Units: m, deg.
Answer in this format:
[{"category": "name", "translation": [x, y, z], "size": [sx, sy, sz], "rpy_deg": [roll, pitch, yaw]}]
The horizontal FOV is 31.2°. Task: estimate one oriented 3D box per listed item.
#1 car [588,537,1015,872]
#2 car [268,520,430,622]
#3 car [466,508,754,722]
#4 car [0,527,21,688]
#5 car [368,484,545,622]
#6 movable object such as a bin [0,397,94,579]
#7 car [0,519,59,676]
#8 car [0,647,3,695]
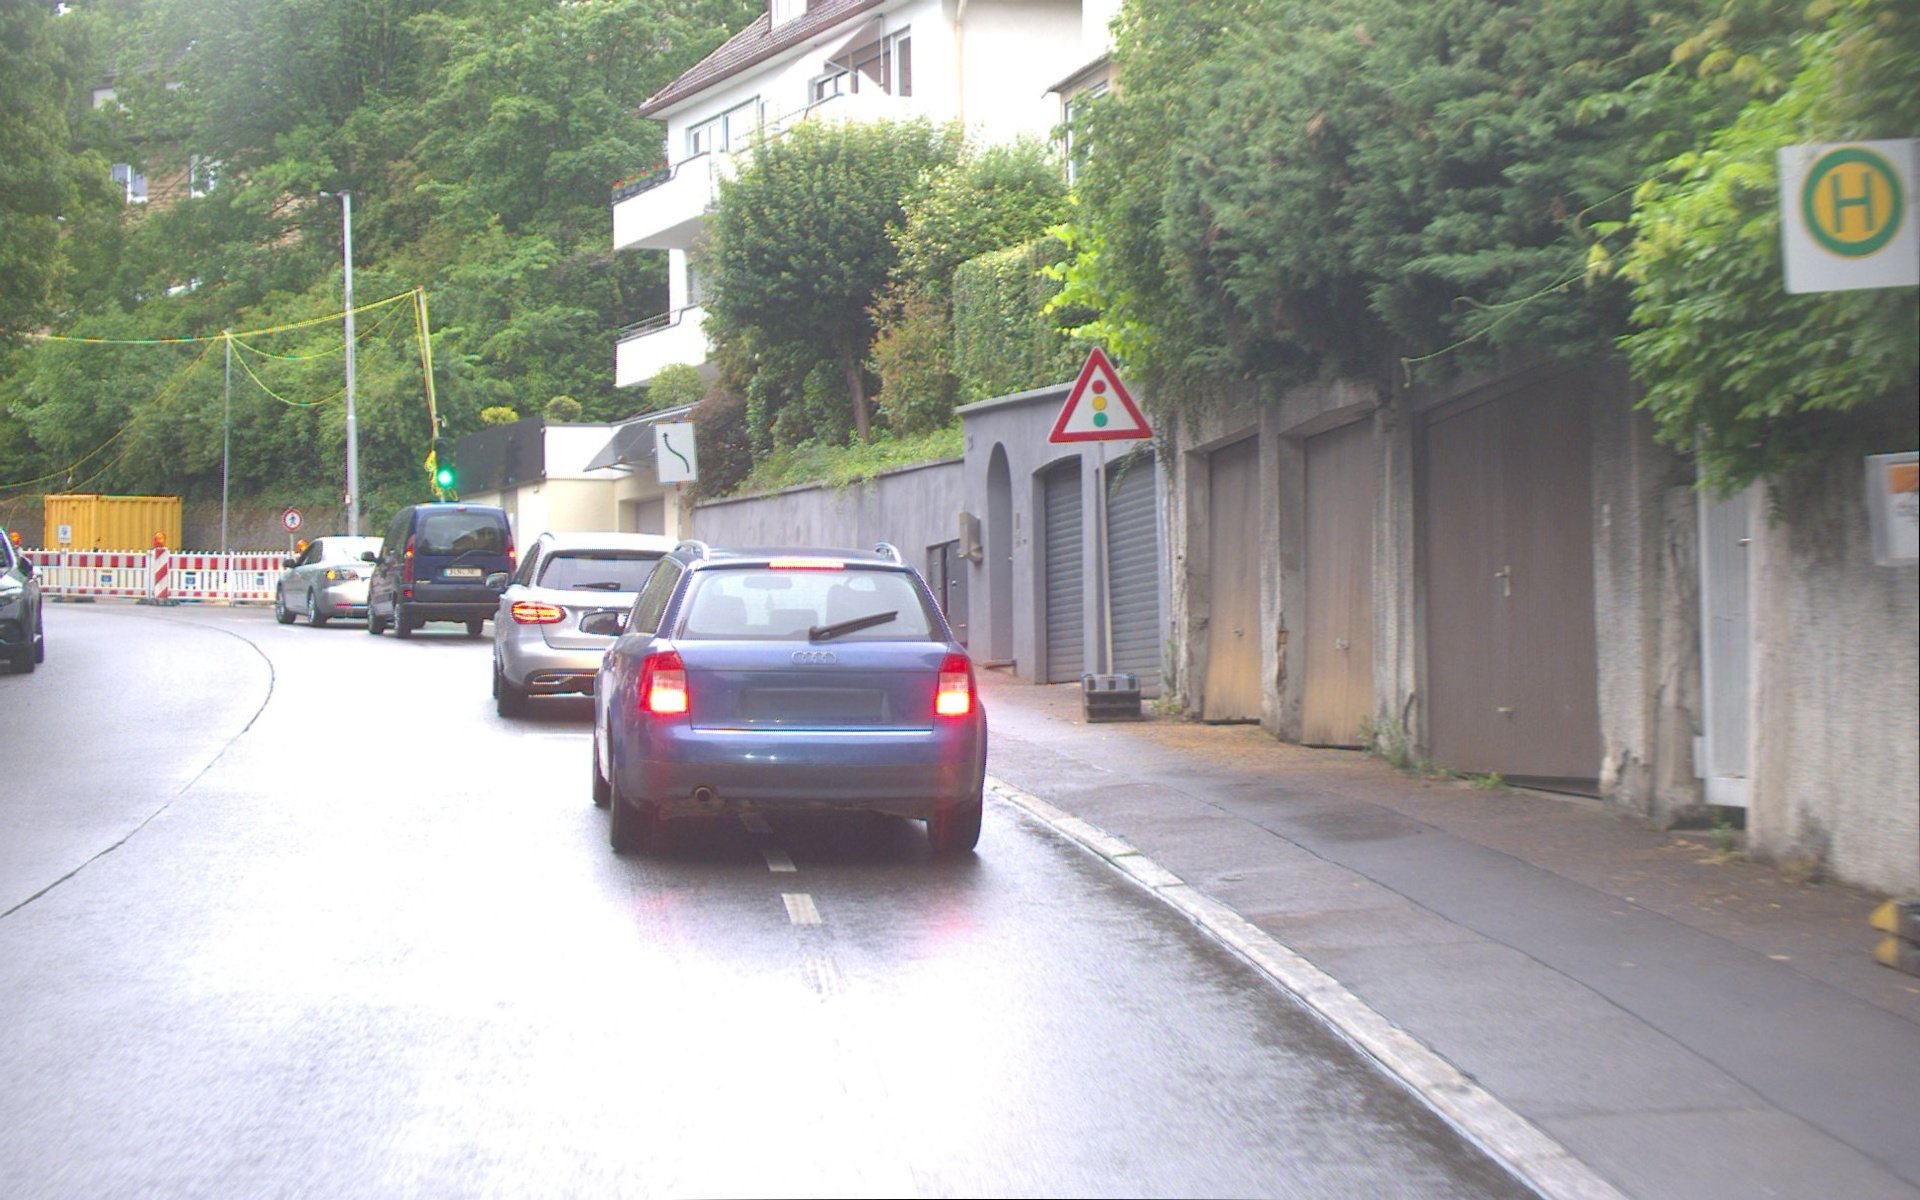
[{"category": "car", "translation": [-0.903, 0.417, 17.063], "size": [1.785, 1.437, 3.965], "rpy_deg": [-1, 1, -7]}, {"category": "car", "translation": [-9.614, -0.482, 53.889], "size": [1.720, 1.481, 4.077], "rpy_deg": [-2, 2, -21]}, {"category": "car", "translation": [-2.955, 0.055, 28.267], "size": [1.925, 1.612, 4.322], "rpy_deg": [0, 2, -12]}, {"category": "car", "translation": [-10.147, 0.101, 33.350], "size": [1.632, 1.559, 3.850], "rpy_deg": [-3, 1, -10]}, {"category": "car", "translation": [-7.061, -0.681, 47.887], "size": [1.993, 1.787, 4.001], "rpy_deg": [-2, 2, -14]}, {"category": "movable object such as a bin", "translation": [-23.286, -2.570, 78.630], "size": [7.319, 4.000, 2.822], "rpy_deg": [2, 2, 37]}, {"category": "car", "translation": [-11.119, -0.008, 38.591], "size": [1.681, 1.603, 4.578], "rpy_deg": [-7, 3, -13]}, {"category": "car", "translation": [-9.094, 0.178, 28.686], "size": [1.555, 1.483, 4.099], "rpy_deg": [-4, 1, -8]}]
